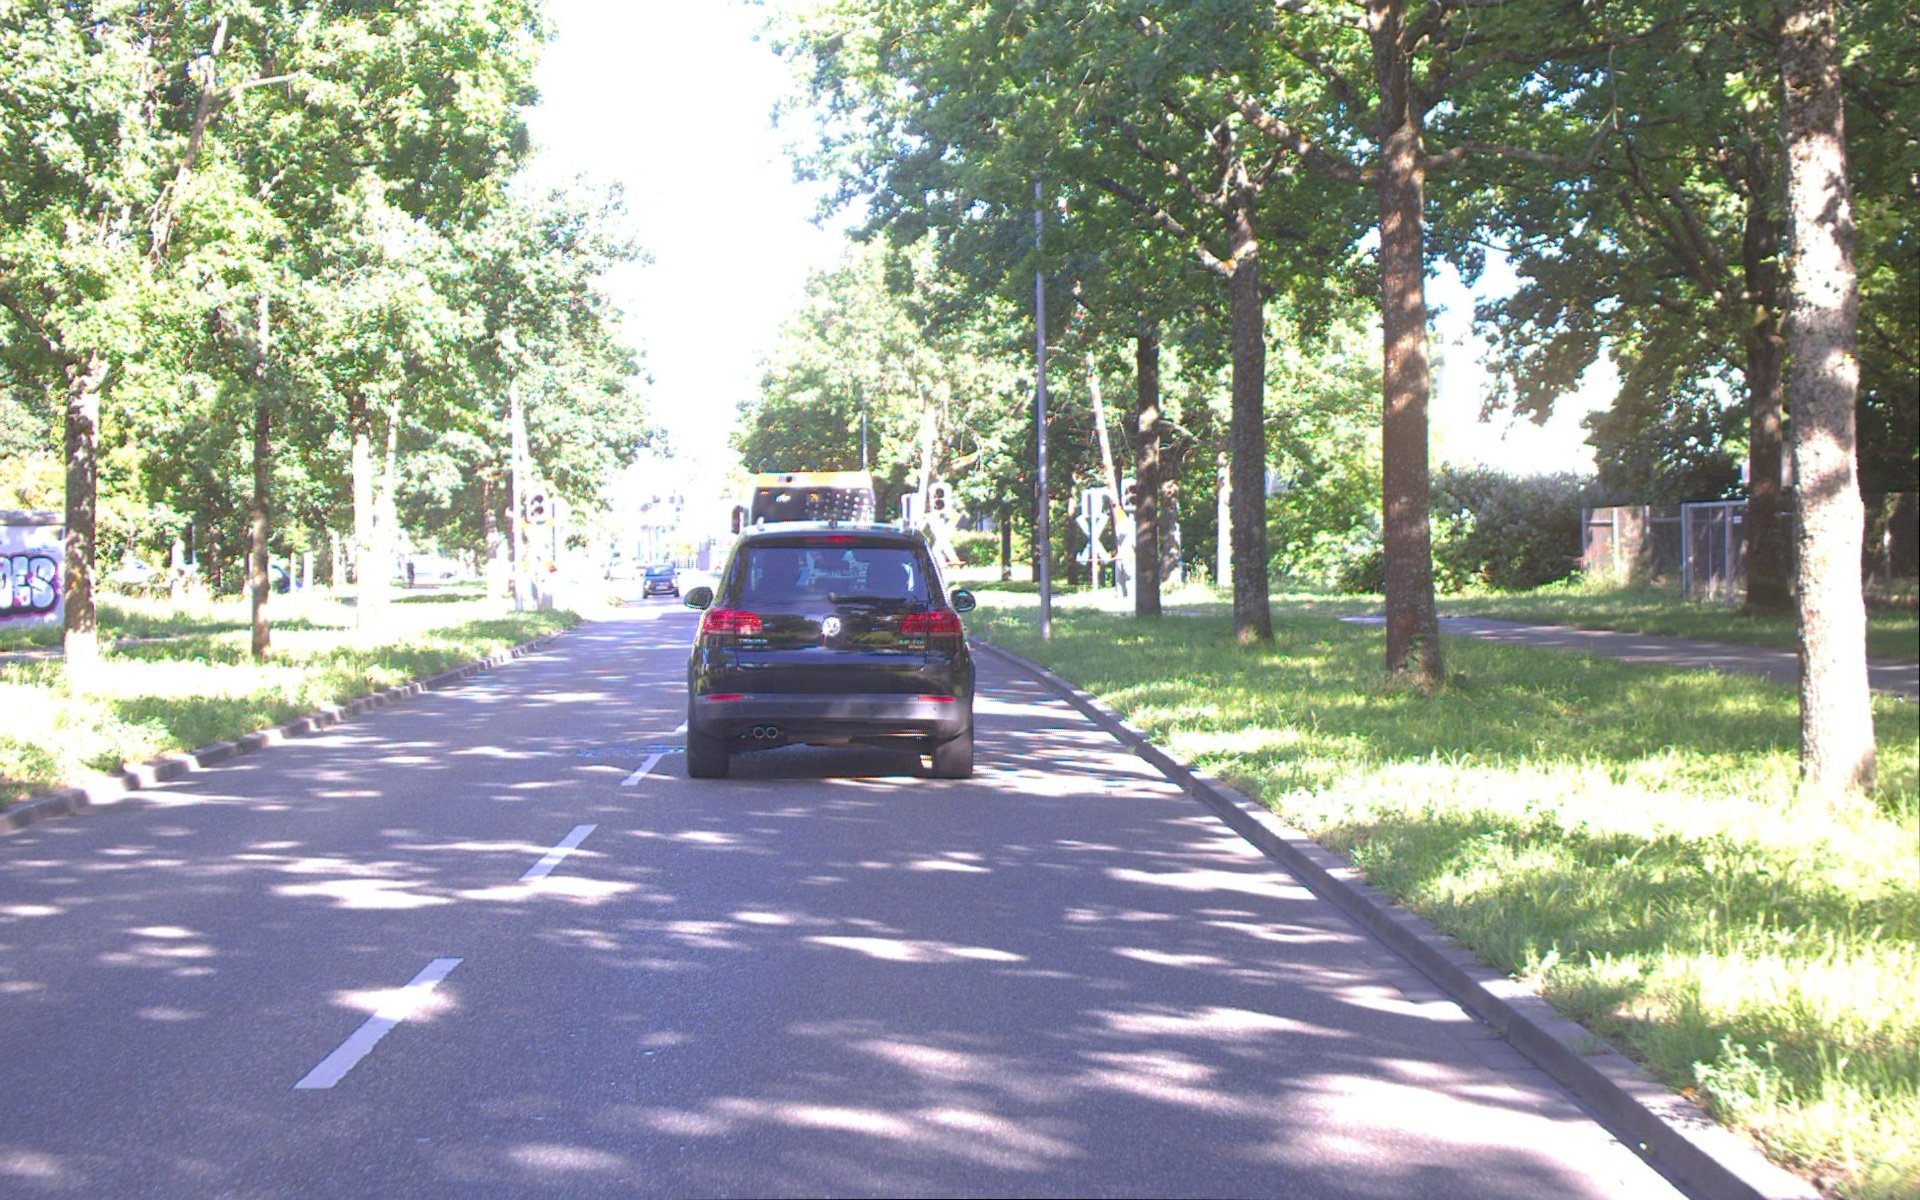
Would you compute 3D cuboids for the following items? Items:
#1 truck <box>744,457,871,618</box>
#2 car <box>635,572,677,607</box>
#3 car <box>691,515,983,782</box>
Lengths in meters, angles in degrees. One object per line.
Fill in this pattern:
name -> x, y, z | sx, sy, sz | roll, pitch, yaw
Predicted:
truck -> -3.308, -1.335, 74.194 | 2.512, 3.232, 8.153 | -1, 1, -3
car -> -13.613, -0.493, 154.054 | 1.565, 1.499, 4.000 | 1, 1, 0
car -> -0.844, 0.277, 23.195 | 1.782, 1.628, 4.000 | 1, 1, -2
